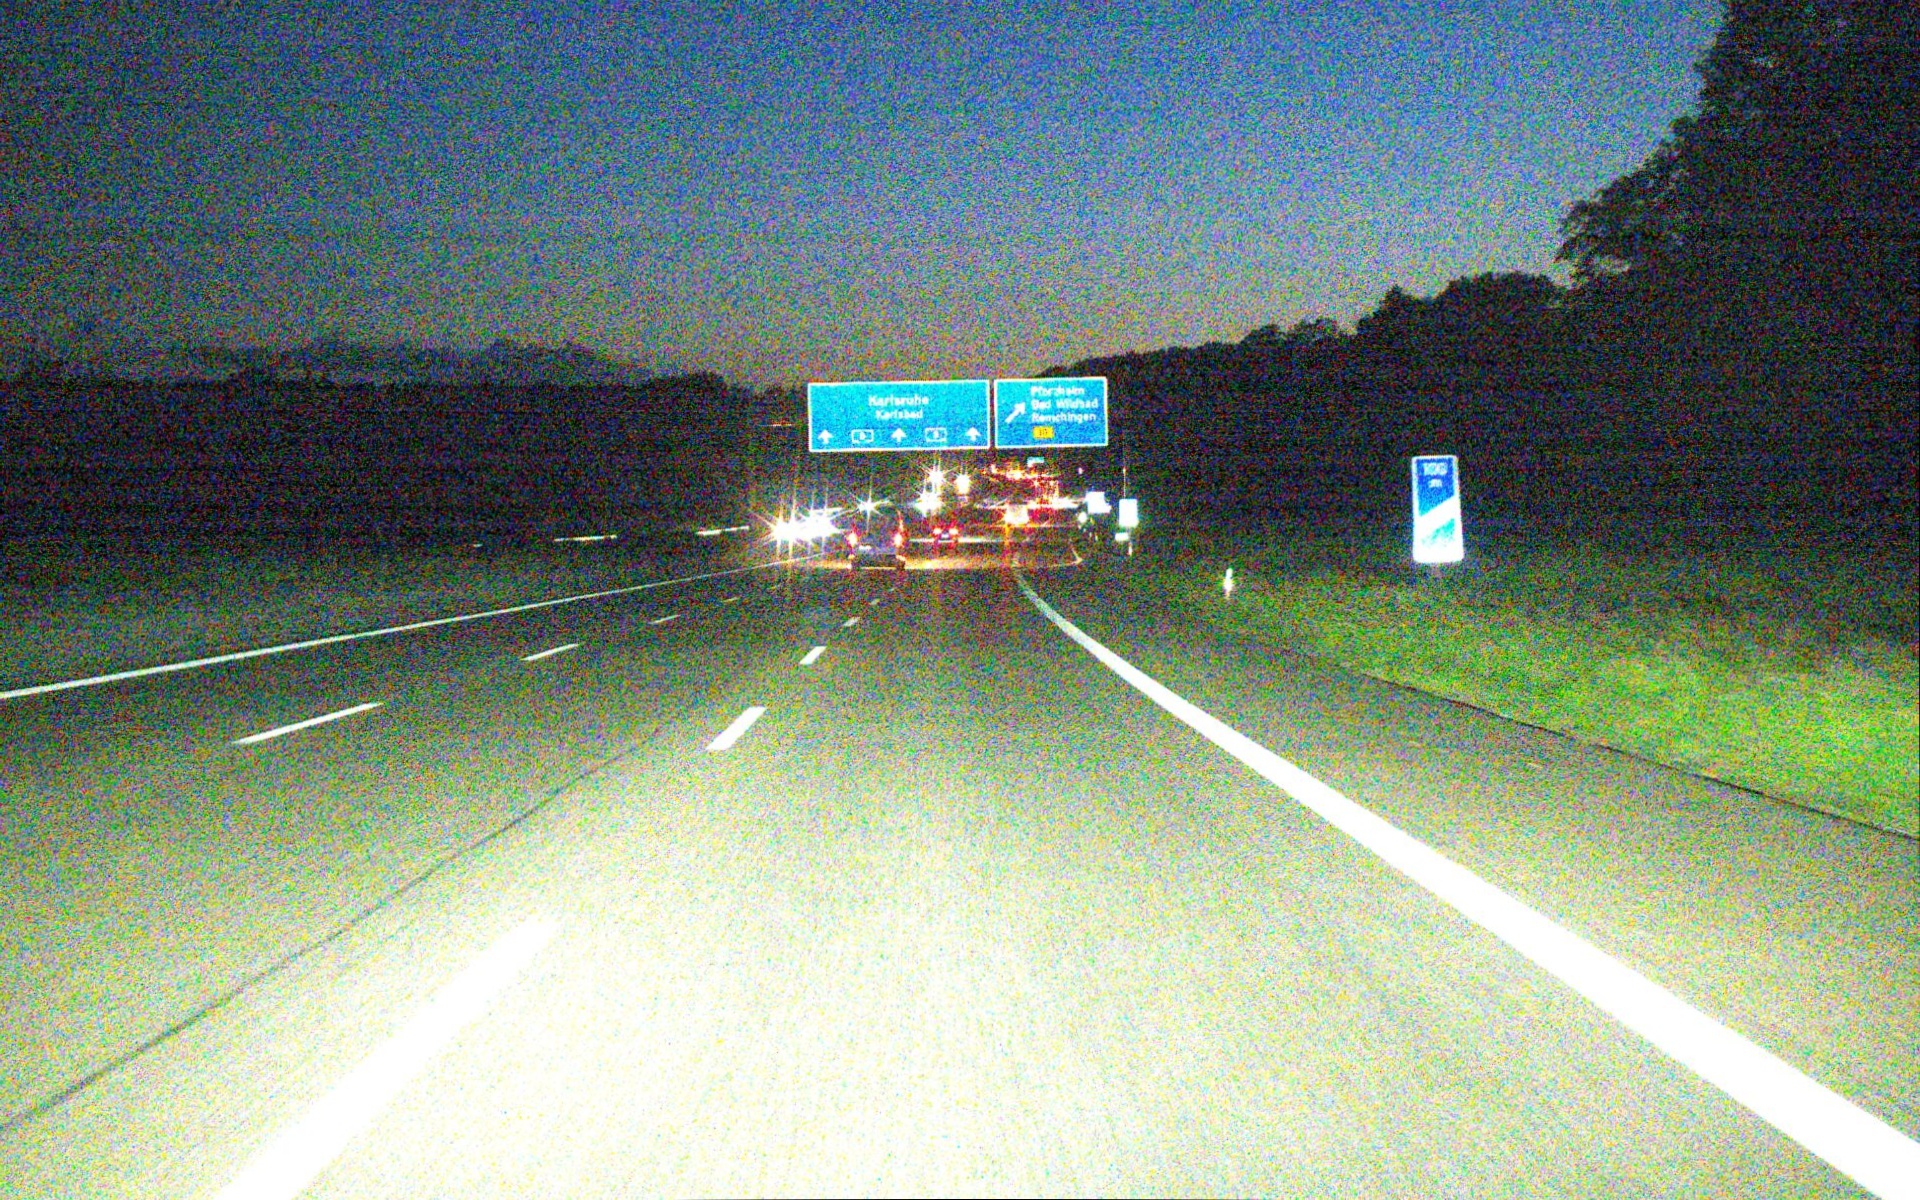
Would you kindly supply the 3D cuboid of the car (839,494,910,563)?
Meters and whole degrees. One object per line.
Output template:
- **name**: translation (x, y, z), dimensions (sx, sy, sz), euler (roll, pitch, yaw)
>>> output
- **car**: translation (-3.449, -2.890, 139.502), dimensions (2.786, 2.724, 6.299), euler (0, 1, -1)

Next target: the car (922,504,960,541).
- **car**: translation (-1.463, -5.862, 260.739), dimensions (2.786, 2.724, 6.299), euler (0, 1, -1)
